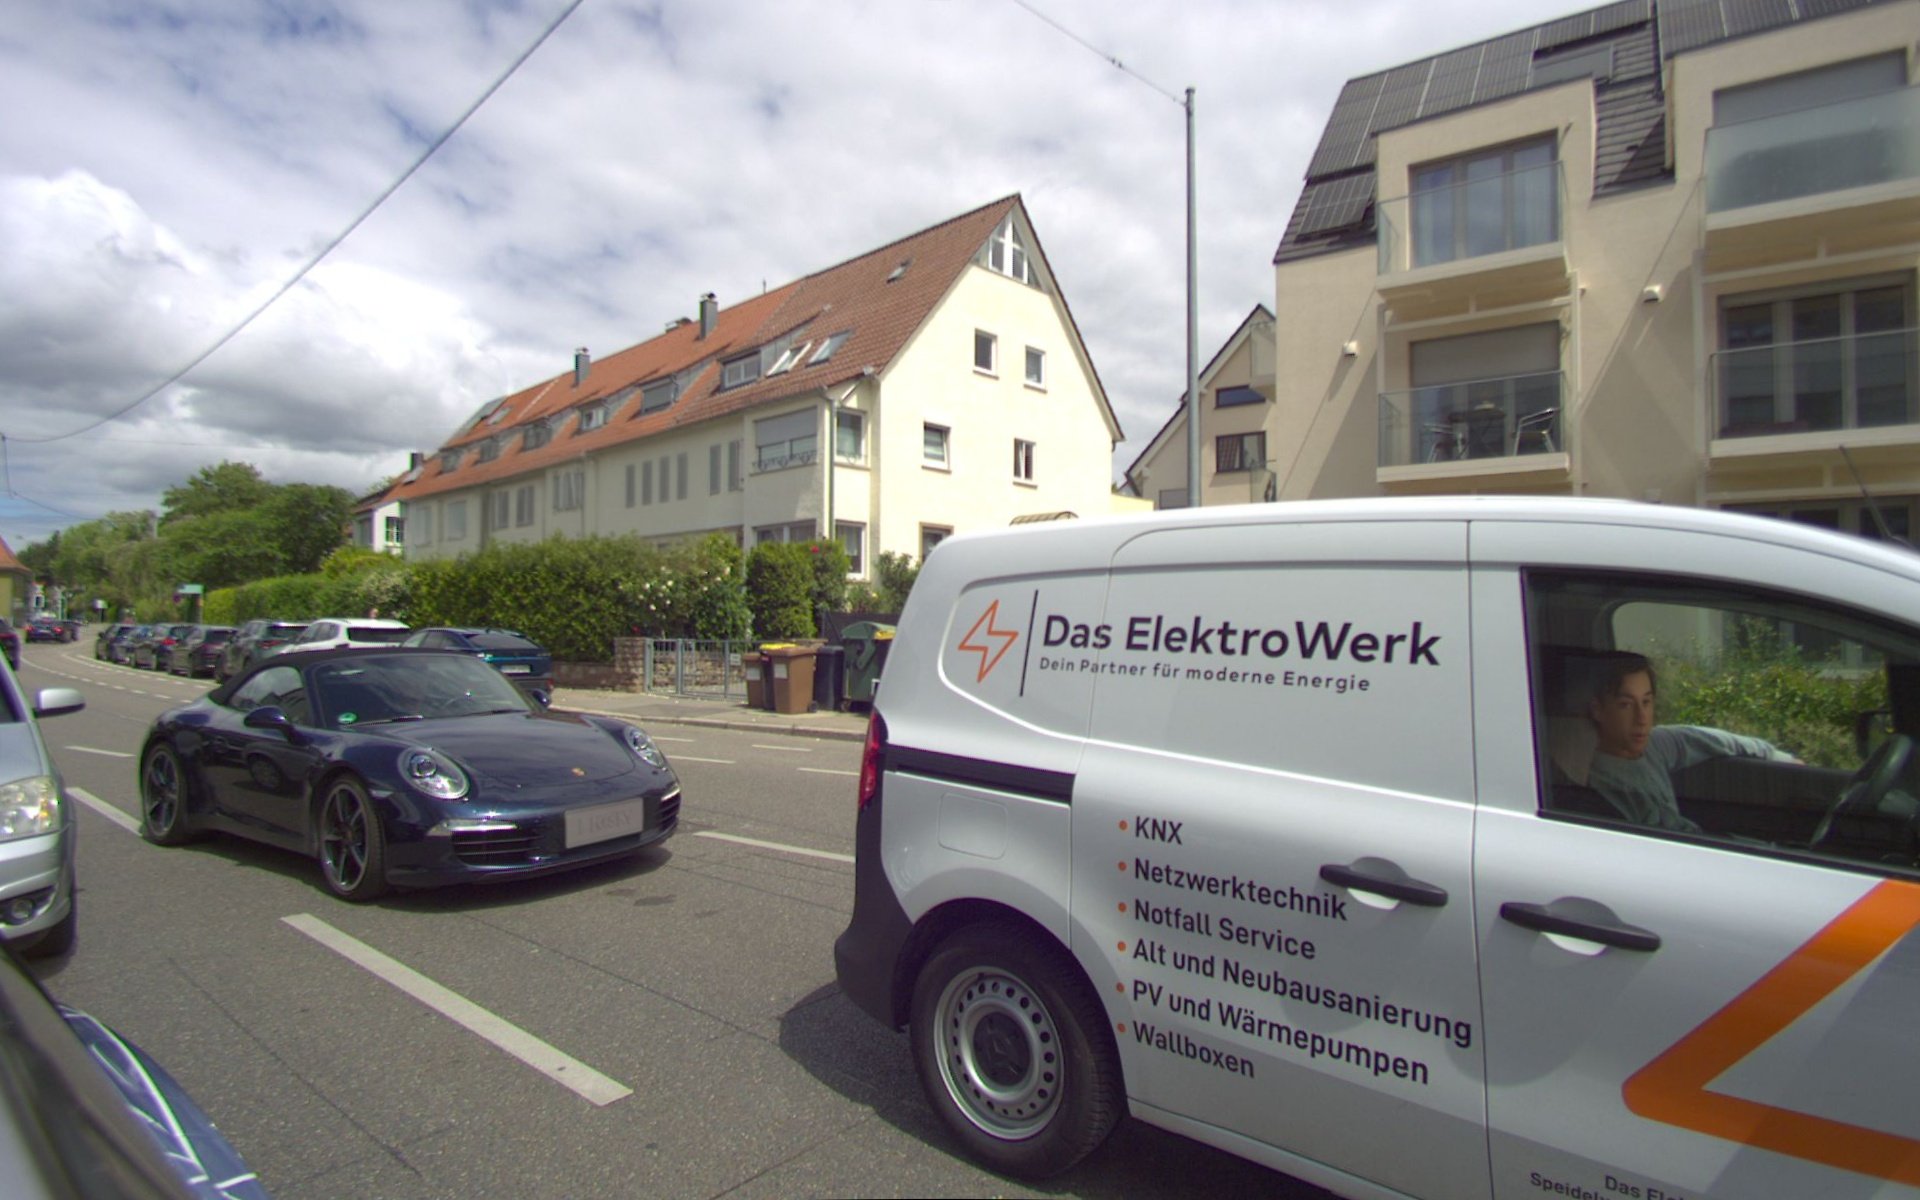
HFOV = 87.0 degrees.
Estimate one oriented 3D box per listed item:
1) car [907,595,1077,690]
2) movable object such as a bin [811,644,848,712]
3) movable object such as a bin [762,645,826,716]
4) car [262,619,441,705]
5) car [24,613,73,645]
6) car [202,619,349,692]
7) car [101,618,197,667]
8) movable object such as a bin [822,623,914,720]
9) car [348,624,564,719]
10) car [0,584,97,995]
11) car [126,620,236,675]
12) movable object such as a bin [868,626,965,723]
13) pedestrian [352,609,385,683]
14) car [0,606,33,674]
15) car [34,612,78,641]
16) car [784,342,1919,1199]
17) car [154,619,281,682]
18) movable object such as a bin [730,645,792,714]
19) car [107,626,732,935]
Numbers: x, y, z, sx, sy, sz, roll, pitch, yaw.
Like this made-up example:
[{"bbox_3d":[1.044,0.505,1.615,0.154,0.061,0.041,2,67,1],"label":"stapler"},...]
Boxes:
[{"bbox_3d":[0.817,0.941,23.782,1.999,2.029,3.946,-1,-1,40],"label":"car"},{"bbox_3d":[-2.138,1.276,16.595,0.516,1.073,0.656,0,-1,2],"label":"movable object such as a bin"},{"bbox_3d":[-2.655,1.266,16.205,0.752,1.073,0.693,1,-2,-42],"label":"movable object such as a bin"},{"bbox_3d":[-13.020,1.222,21.562,4.451,1.645,1.973,-1,-2,41],"label":"car"},{"bbox_3d":[-56.381,1.769,62.642,1.968,1.929,4.077,1,-1,-38],"label":"car"},{"bbox_3d":[-17.013,1.307,25.077,4.234,1.645,1.973,-1,-2,41],"label":"car"},{"bbox_3d":[-29.193,1.476,36.395,4.234,1.645,1.973,-1,-2,41],"label":"car"},{"bbox_3d":[-1.448,1.099,16.003,0.980,1.457,1.078,-1,-2,41],"label":"movable object such as a bin"},{"bbox_3d":[-9.229,1.191,18.385,4.447,1.513,1.796,-1,-1,38],"label":"car"},{"bbox_3d":[-5.602,0.751,4.769,3.999,1.587,1.751,-1,-1,41],"label":"car"},{"bbox_3d":[-25.133,1.470,32.606,4.234,1.645,1.973,-1,-2,41],"label":"car"},{"bbox_3d":[-0.650,1.084,15.202,0.980,1.373,1.078,-1,-1,41],"label":"movable object such as a bin"},{"bbox_3d":[-14.715,1.133,25.184,0.511,1.829,0.526,-1,-2,36],"label":"pedestrian"},{"bbox_3d":[-28.909,1.168,29.869,4.069,1.929,1.972,-1,-2,43],"label":"car"},{"bbox_3d":[-60.956,1.779,68.302,1.968,1.929,4.077,1,-1,-38],"label":"car"},{"bbox_3d":[1.723,0.543,2.422,4.414,1.825,1.798,-1,-1,39],"label":"car"},{"bbox_3d":[-21.103,1.391,28.712,4.234,1.645,1.973,-1,-3,41],"label":"car"},{"bbox_3d":[-3.274,1.292,16.663,0.752,1.073,0.693,1,-2,-42],"label":"movable object such as a bin"},{"bbox_3d":[-3.544,0.864,6.447,4.032,1.374,1.796,-1,-1,33],"label":"car"}]
